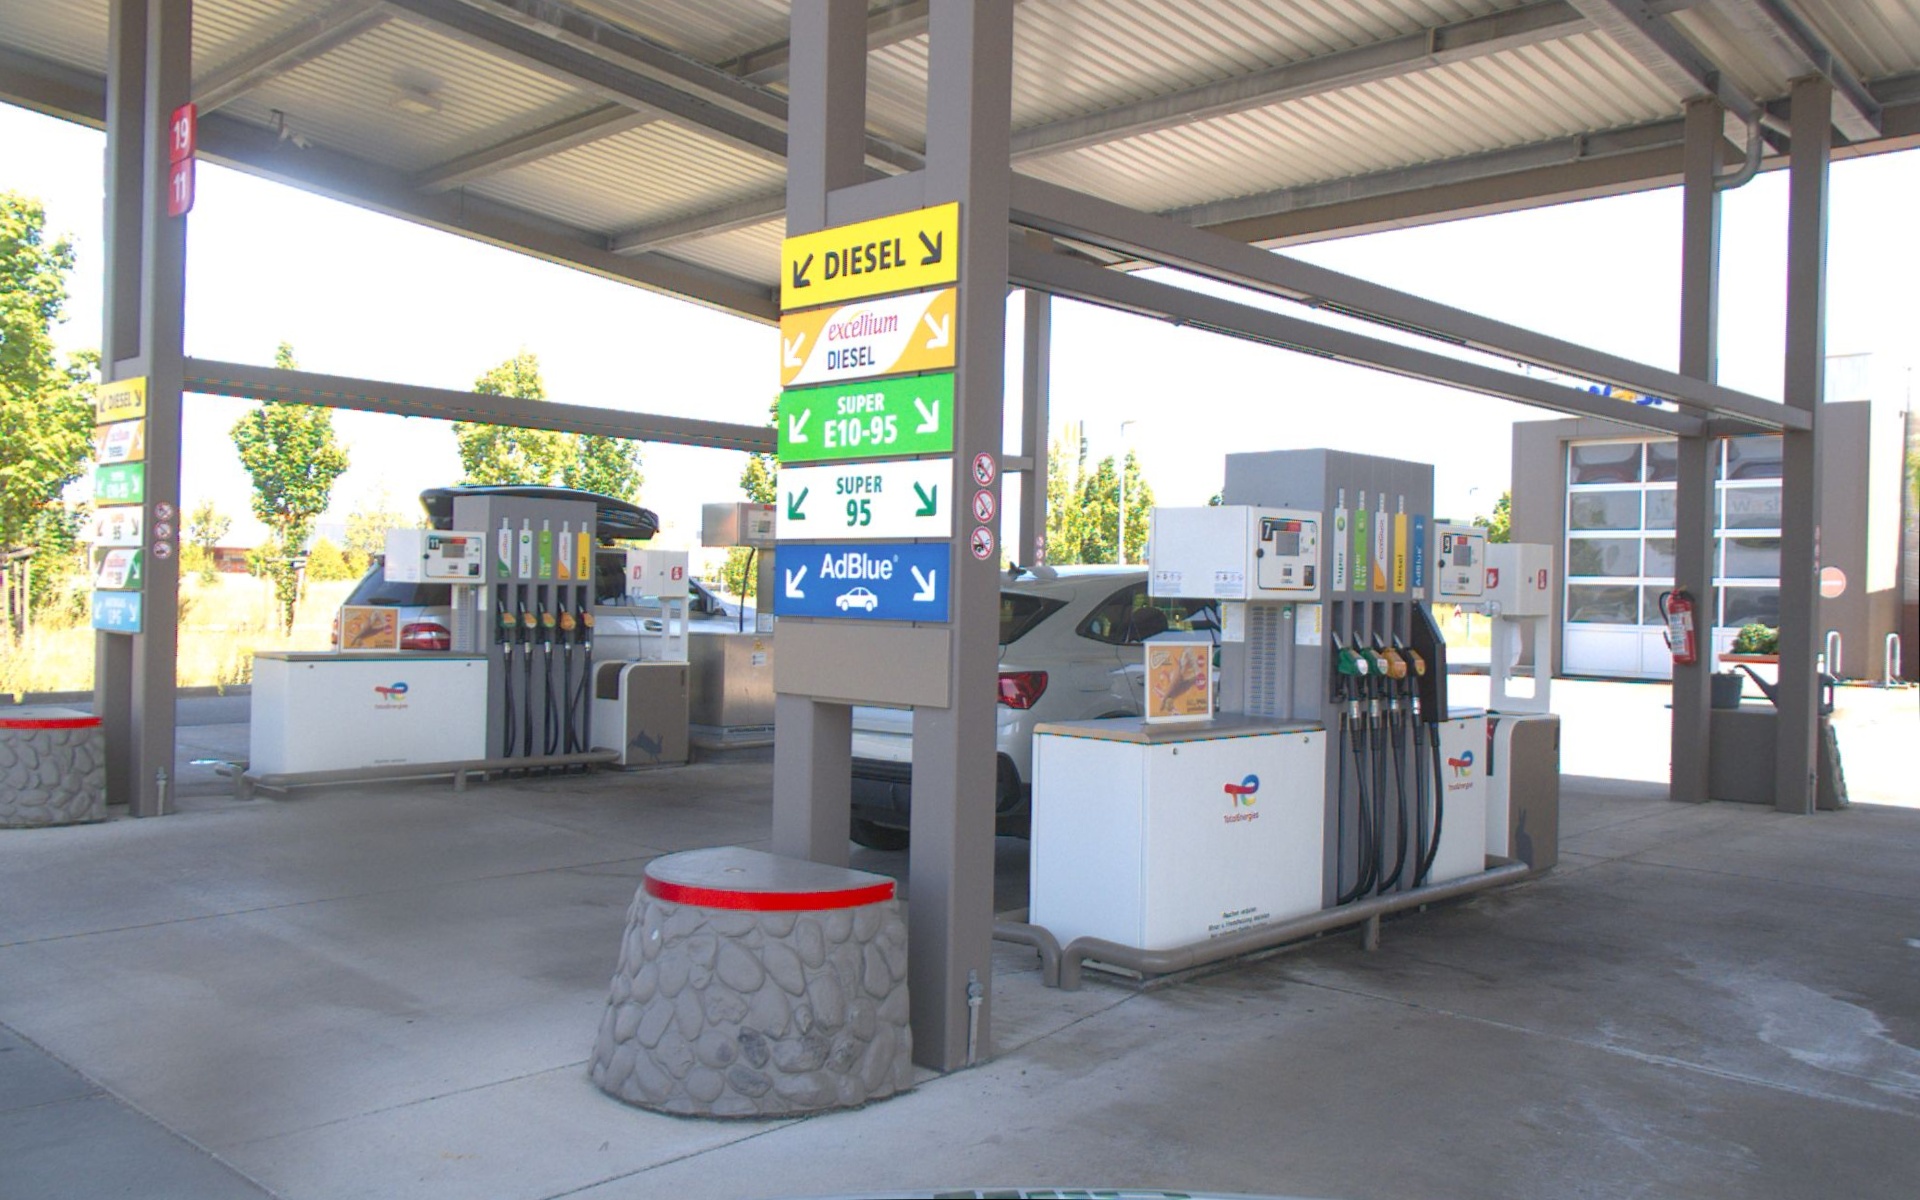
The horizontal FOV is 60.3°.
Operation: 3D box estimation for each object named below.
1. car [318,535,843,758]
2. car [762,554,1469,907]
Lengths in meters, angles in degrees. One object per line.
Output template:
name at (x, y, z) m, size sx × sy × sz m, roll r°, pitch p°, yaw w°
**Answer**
car at (-3.284, 0.323, 15.093) m, size 1.831 × 1.717 × 4.512 m, roll 1°, pitch 1°, yaw 40°
car at (1.088, 0.552, 9.499) m, size 1.756 × 1.568 × 4.295 m, roll 1°, pitch 1°, yaw 44°
